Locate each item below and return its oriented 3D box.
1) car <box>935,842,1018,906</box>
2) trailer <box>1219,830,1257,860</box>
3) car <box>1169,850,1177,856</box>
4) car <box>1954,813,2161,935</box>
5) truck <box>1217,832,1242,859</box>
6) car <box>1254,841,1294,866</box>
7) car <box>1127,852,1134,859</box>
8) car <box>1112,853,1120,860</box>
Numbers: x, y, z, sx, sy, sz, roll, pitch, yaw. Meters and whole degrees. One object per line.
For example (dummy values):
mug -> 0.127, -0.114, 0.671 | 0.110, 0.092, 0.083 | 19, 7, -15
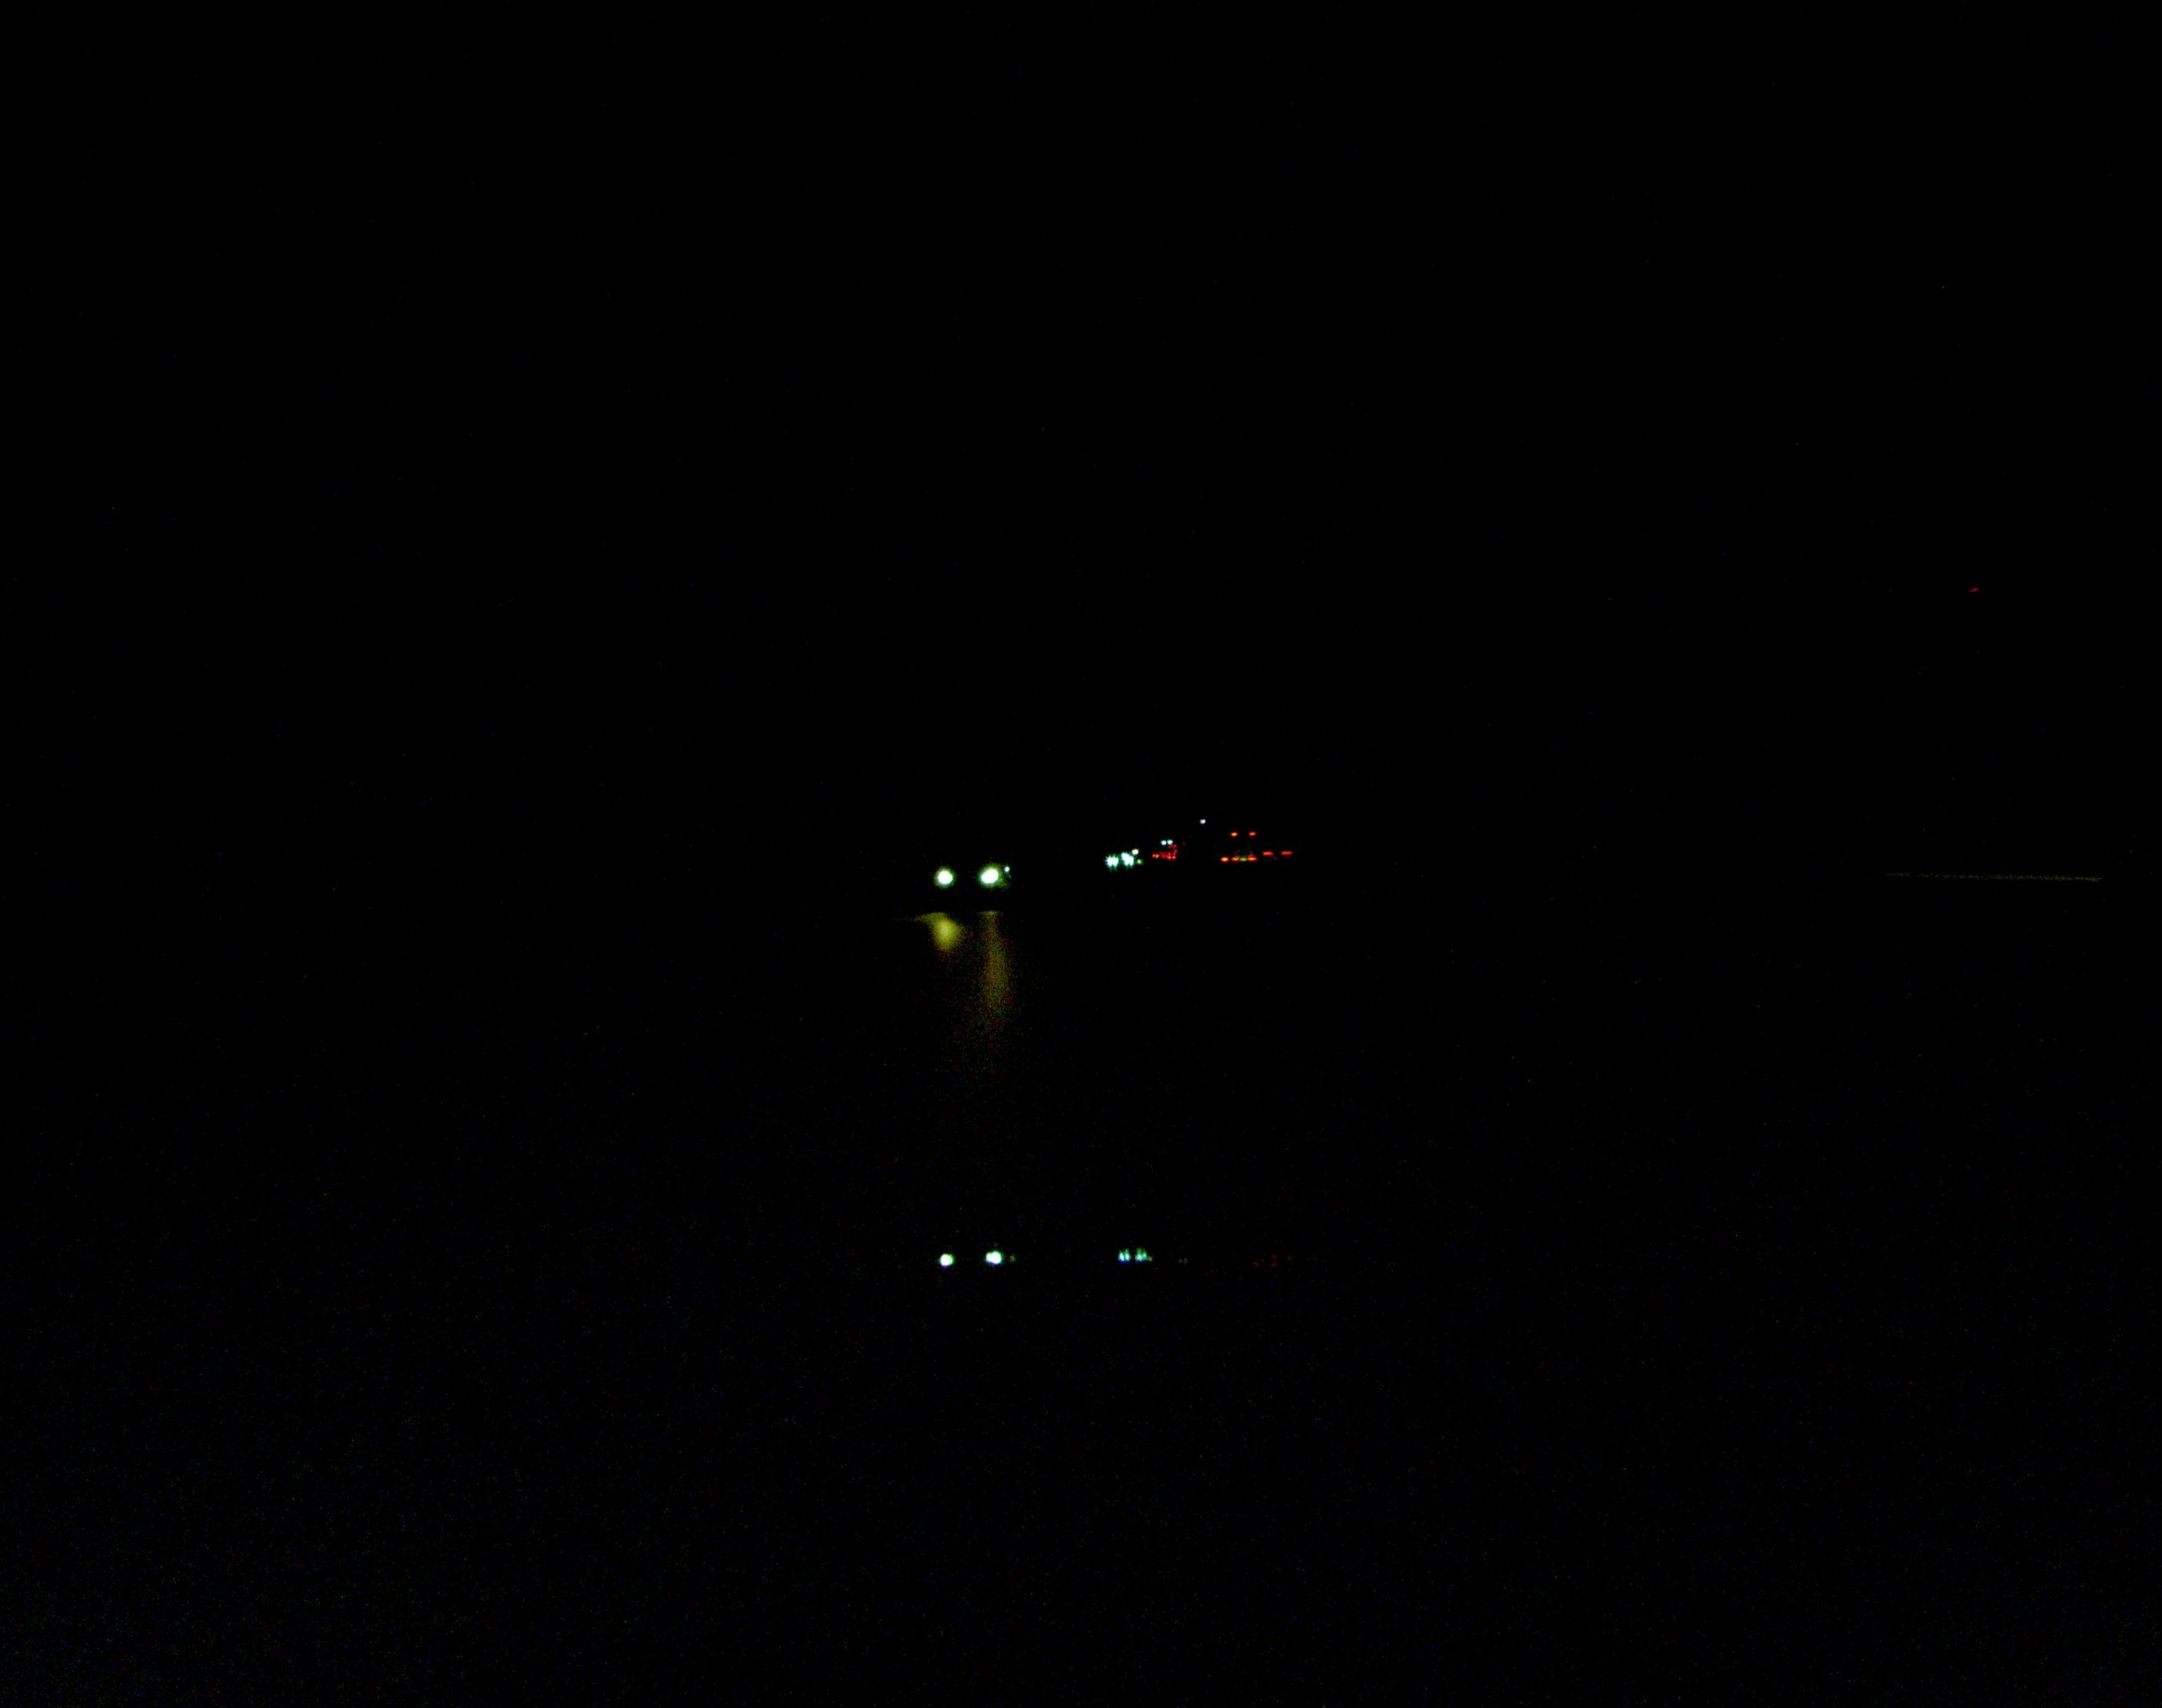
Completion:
car -> -3.564, 0.618, 27.014 | 2.121, 1.989, 5.663 | -2, 0, 0
trailer -> 22.620, -1.203, 110.209 | 2.861, 3.957, 13.887 | -2, 0, 2
car -> 26.359, -0.278, 218.467 | 2.015, 1.660, 4.950 | -2, 0, 4
car -> 15.781, 0.237, 10.301 | 2.250, 1.658, 4.889 | -2, 0, 0
truck -> 22.843, -1.215, 117.082 | 2.861, 3.957, 5.860 | -2, 0, 2
car -> 17.150, -0.081, 67.967 | 2.249, 2.089, 5.715 | -2, 0, 2
car -> 15.922, 0.468, 242.495 | 1.998, 1.735, 3.999 | -2, 2, 0
car -> 9.384, 0.741, 206.178 | 1.998, 1.762, 3.999 | -2, 2, 0
